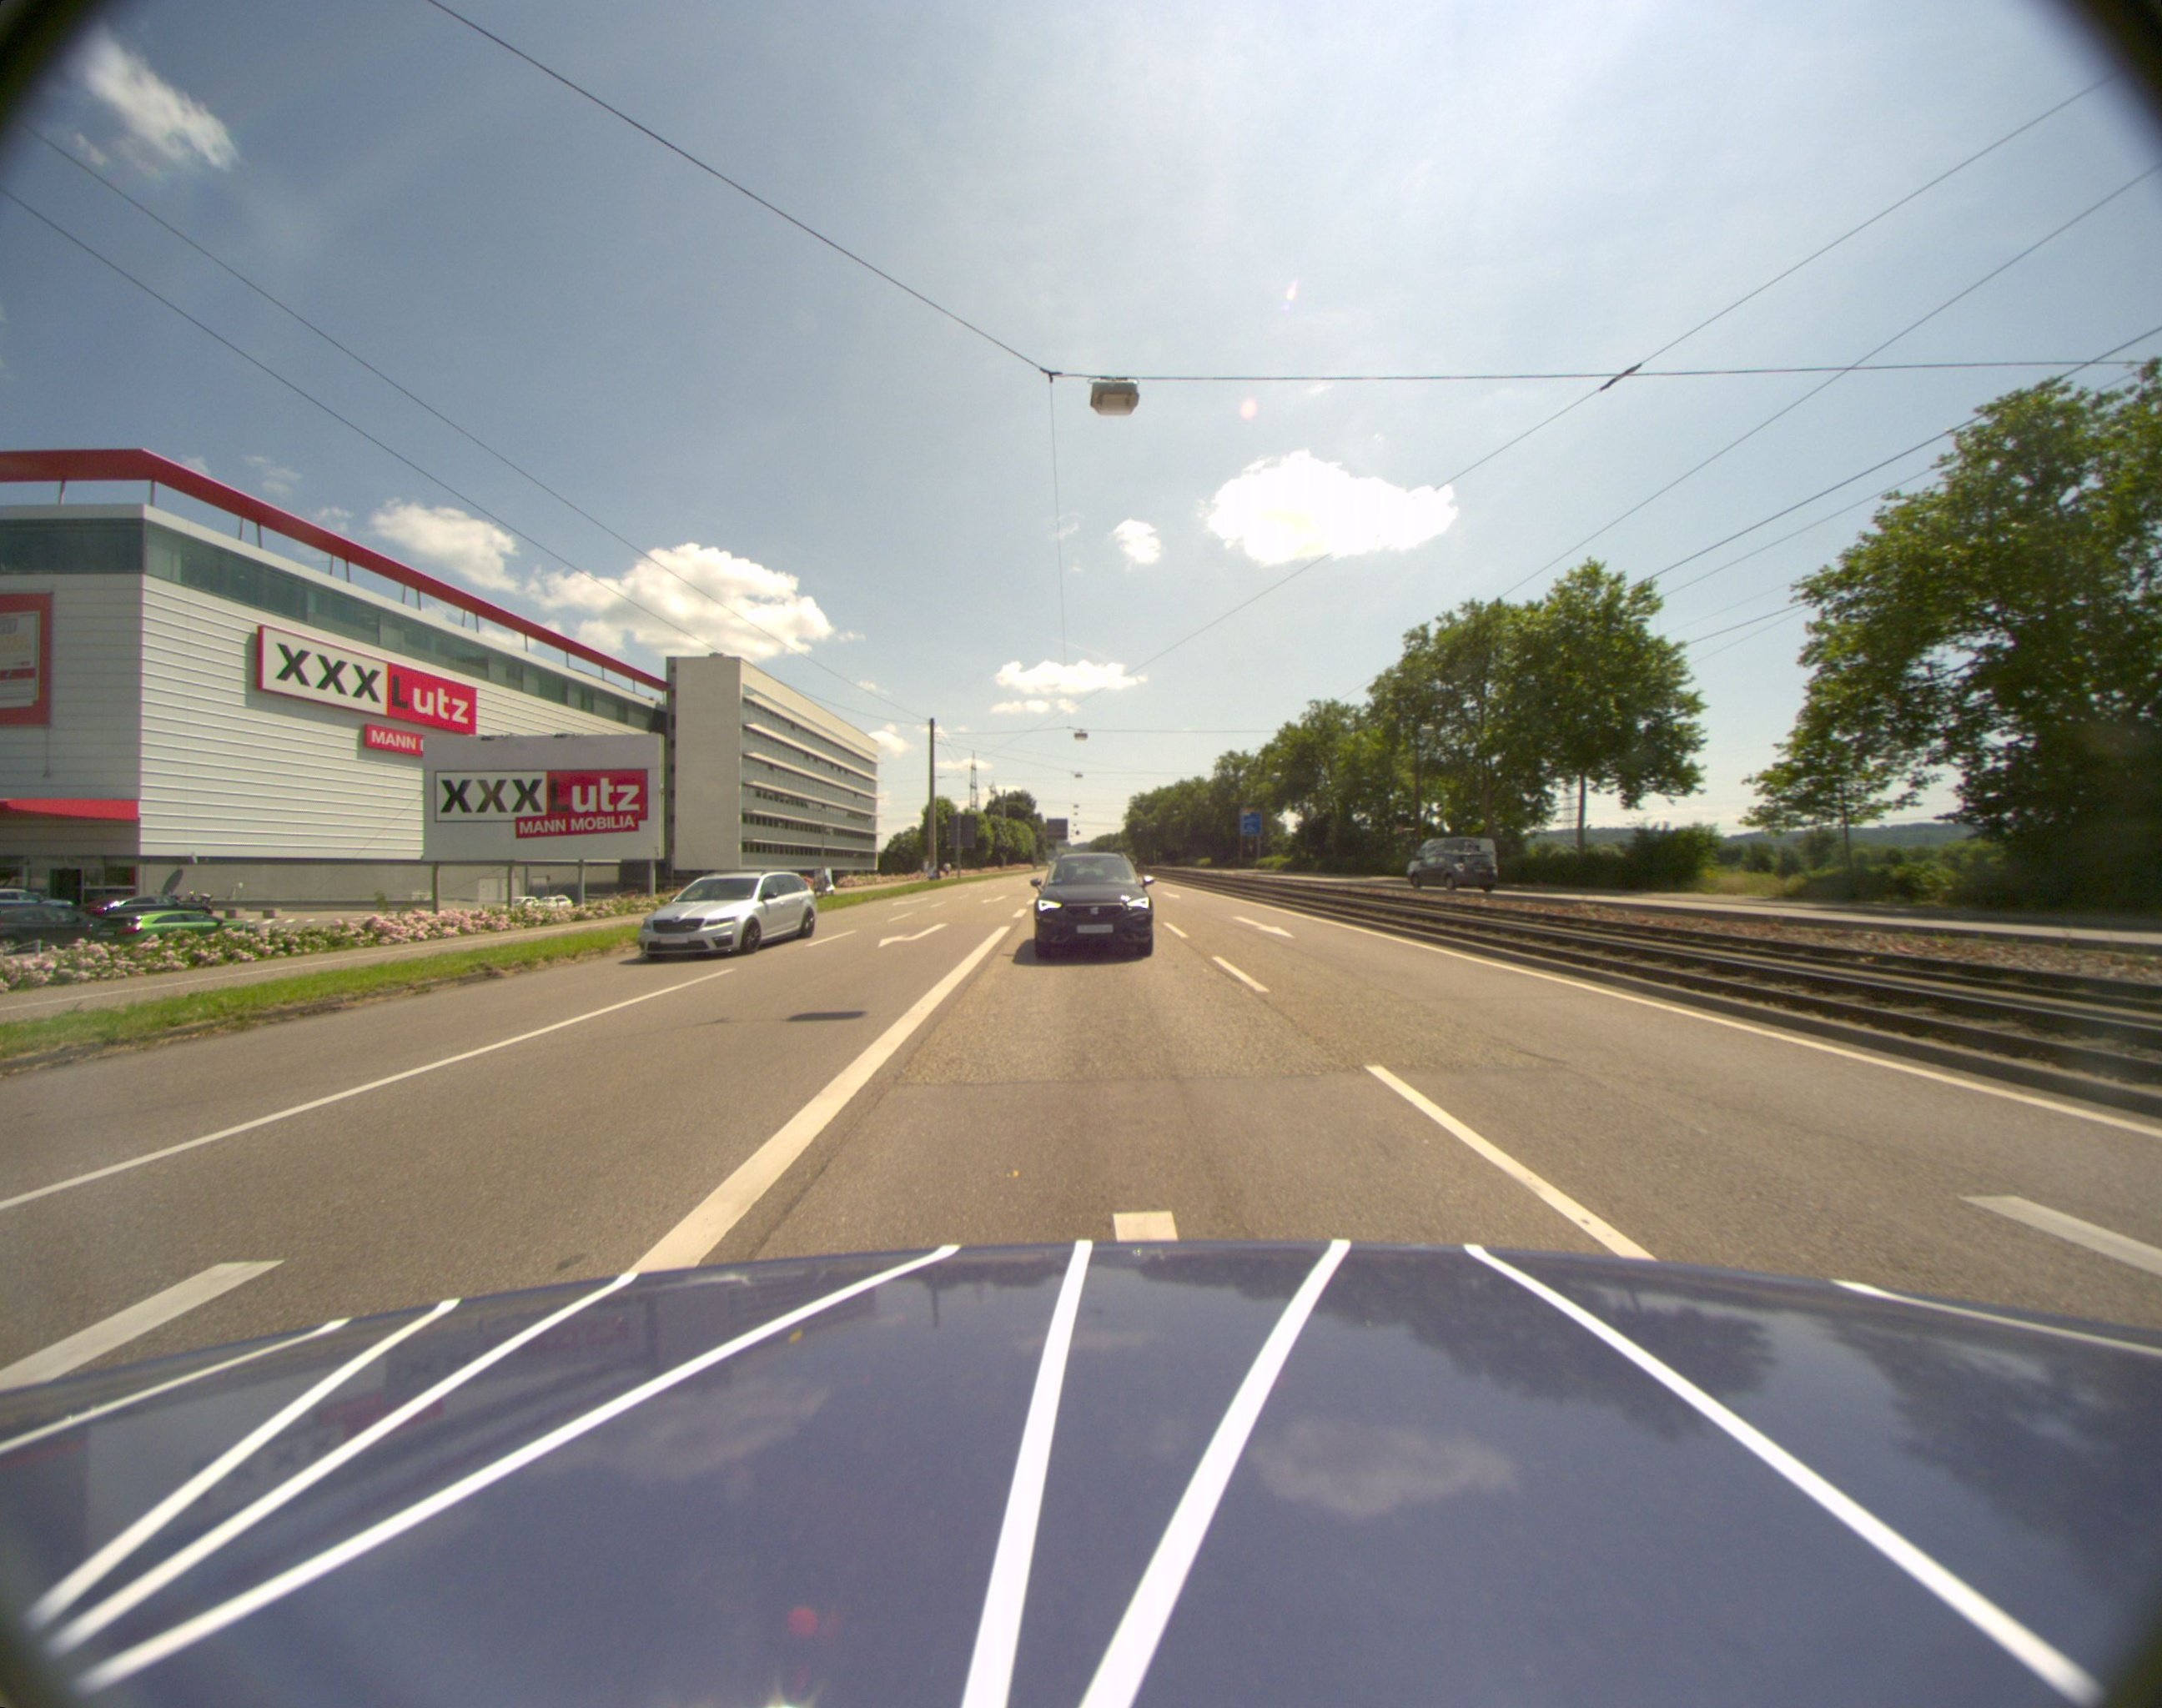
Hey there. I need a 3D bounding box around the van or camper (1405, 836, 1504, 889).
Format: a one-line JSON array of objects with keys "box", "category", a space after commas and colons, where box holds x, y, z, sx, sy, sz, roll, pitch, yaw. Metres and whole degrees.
[{"box": [19.484, 0.440, 40.032, 1.999, 2.571, 5.842, 1, 0, -4], "category": "van or camper"}]

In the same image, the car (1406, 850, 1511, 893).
[{"box": [15.698, 0.712, 31.880, 1.999, 1.627, 4.263, 2, 0, -5], "category": "car"}]

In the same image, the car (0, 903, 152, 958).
[{"box": [-36.778, 2.692, 26.957, 1.998, 1.546, 4.520, -2, 0, 1], "category": "car"}]

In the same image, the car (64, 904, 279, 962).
[{"box": [-31.755, 2.700, 26.789, 1.998, 1.554, 4.520, -2, 0, 3], "category": "car"}]

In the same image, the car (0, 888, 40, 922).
[{"box": [-55.931, 2.666, 37.780, 1.998, 1.682, 4.520, -2, 0, 1], "category": "car"}]

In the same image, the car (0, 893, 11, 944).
[{"box": [-41.402, 2.449, 26.373, 1.998, 1.883, 4.520, -2, 0, 1], "category": "car"}]

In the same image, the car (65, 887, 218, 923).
[{"box": [-45.014, 2.409, 36.589, 1.698, 1.392, 4.519, -2, 0, 0], "category": "car"}]

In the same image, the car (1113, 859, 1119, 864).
[{"box": [12.210, 2.632, 263.797, 1.999, 1.626, 4.266, 0, -1, -1], "category": "car"}]

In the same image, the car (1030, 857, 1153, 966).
[{"box": [0.166, 0.871, 13.451, 1.820, 1.583, 4.000, -2, 0, 0], "category": "car"}]

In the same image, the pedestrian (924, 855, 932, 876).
[{"box": [-13.215, 1.028, 65.830, 0.518, 1.783, 0.634, -2, 0, 0], "category": "pedestrian"}]

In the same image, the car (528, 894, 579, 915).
[{"box": [-49.723, 4.757, 71.724, 1.999, 1.637, 4.000, -2, 0, 0], "category": "car"}]

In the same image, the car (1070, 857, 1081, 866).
[{"box": [-1.166, 1.462, 153.934, 1.819, 1.829, 4.001, -1, 0, 4], "category": "car"}]

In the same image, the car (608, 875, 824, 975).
[{"box": [-6.447, 1.168, 14.085, 1.802, 1.390, 4.460, -2, 0, 0], "category": "car"}]

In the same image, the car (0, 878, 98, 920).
[{"box": [-52.771, 2.227, 37.708, 1.998, 1.910, 4.520, -2, 0, 1], "category": "car"}]

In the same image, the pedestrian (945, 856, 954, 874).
[{"box": [-12.269, 1.044, 70.911, 0.599, 1.645, 0.634, -2, 0, 0], "category": "pedestrian"}]
